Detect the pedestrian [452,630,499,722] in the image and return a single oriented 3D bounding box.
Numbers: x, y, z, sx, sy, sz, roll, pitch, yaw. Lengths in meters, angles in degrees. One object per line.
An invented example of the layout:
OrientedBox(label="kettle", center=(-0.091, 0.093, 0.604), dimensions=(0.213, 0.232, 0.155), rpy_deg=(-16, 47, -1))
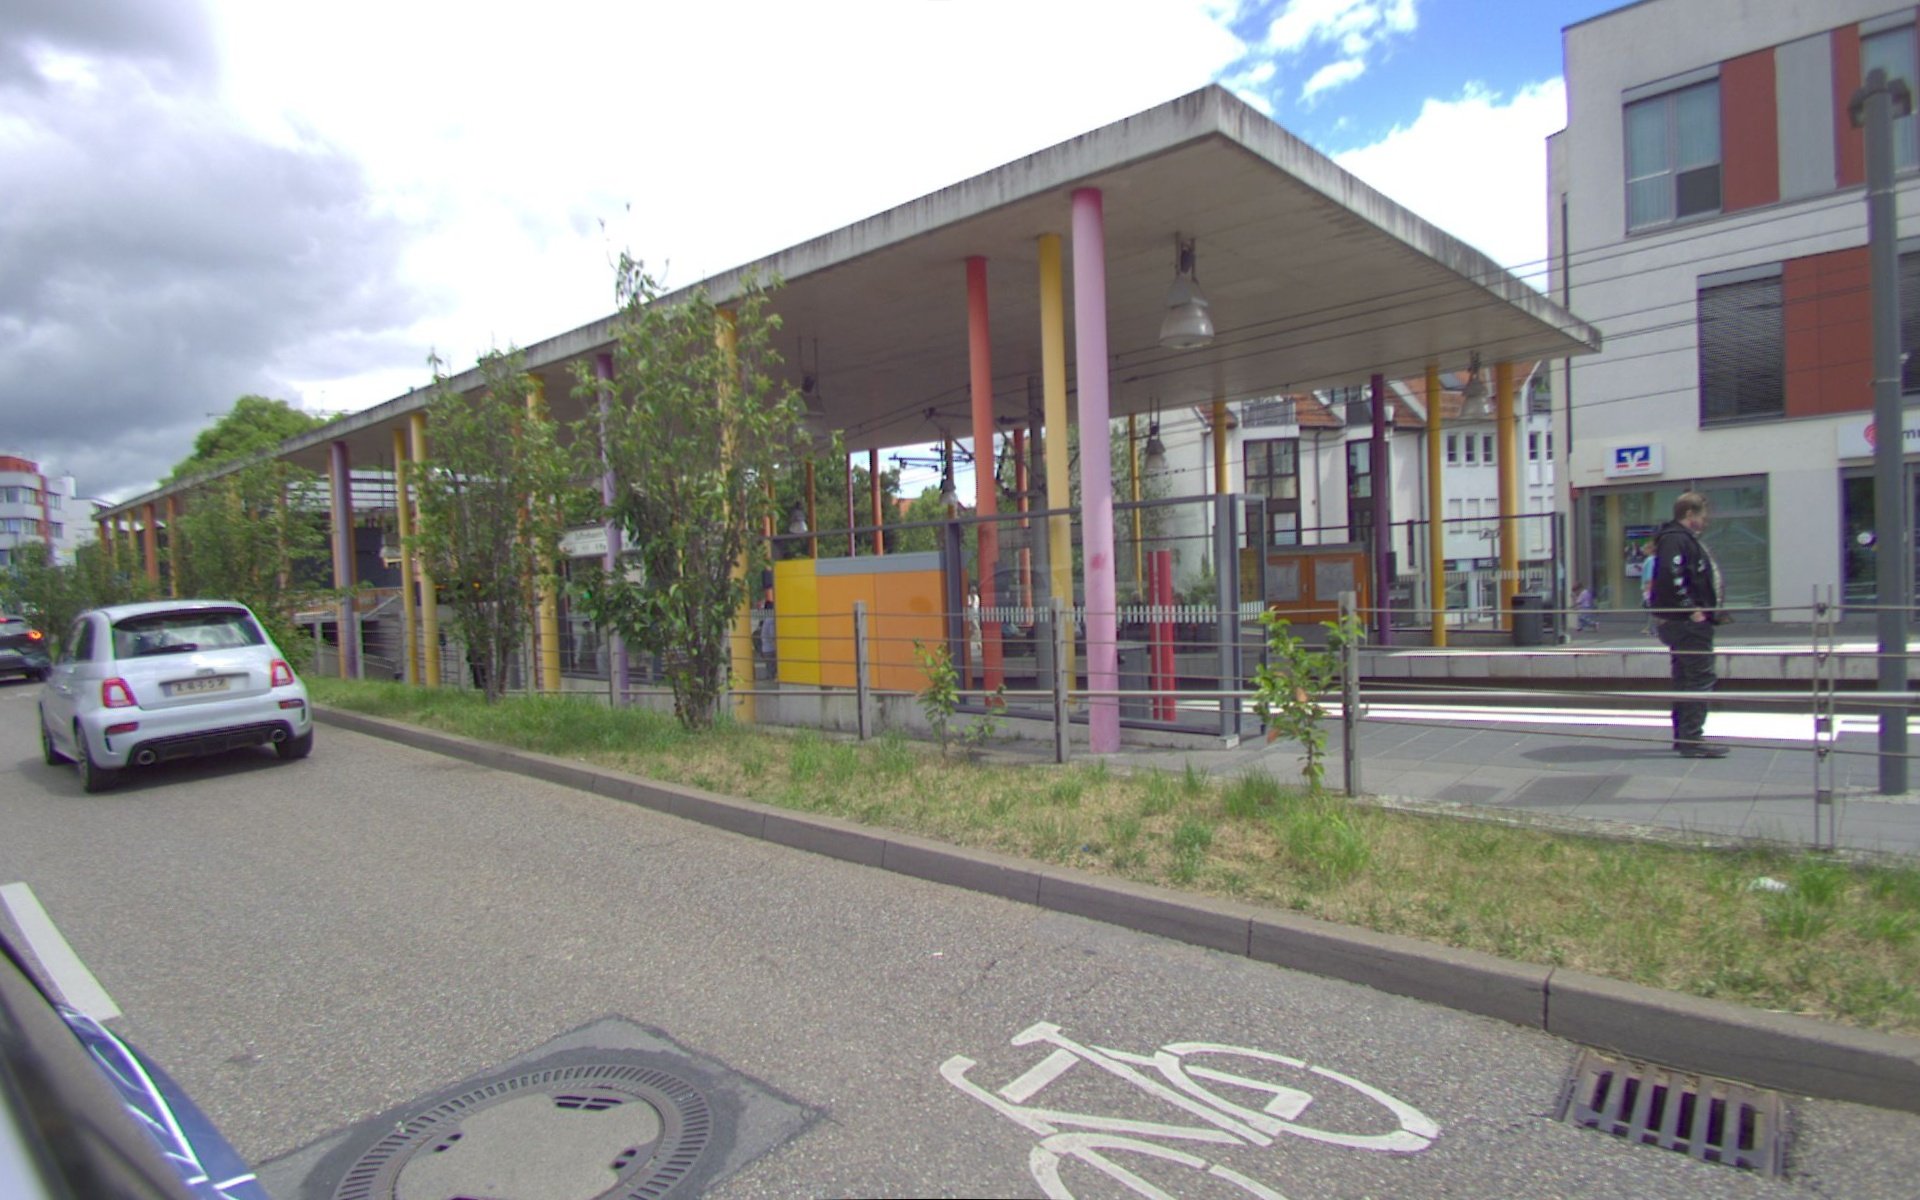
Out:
OrientedBox(label="pedestrian", center=(-10.307, 1.594, 21.528), dimensions=(0.710, 1.843, 0.580), rpy_deg=(1, 5, 44))

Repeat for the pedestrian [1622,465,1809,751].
OrientedBox(label="pedestrian", center=(5.237, 0.059, 7.074), dimensions=(0.778, 1.858, 0.731), rpy_deg=(-4, 1, 21))

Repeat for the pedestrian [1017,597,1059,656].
OrientedBox(label="pedestrian", center=(1.914, 0.654, 24.796), dimensions=(0.702, 1.389, 0.644), rpy_deg=(-3, 2, 43))

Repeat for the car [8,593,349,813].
OrientedBox(label="car", center=(-7.525, 0.829, 9.604), dimensions=(3.999, 1.519, 1.753), rpy_deg=(-2, 4, 42))

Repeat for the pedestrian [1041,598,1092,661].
OrientedBox(label="pedestrian", center=(2.512, 0.702, 23.925), dimensions=(0.702, 1.389, 0.917), rpy_deg=(-3, 2, 43))

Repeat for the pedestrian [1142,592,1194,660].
OrientedBox(label="pedestrian", center=(4.513, 0.556, 21.983), dimensions=(0.702, 1.389, 0.814), rpy_deg=(-3, 2, 43))

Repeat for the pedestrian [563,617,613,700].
OrientedBox(label="pedestrian", center=(-7.598, 1.187, 20.684), dimensions=(0.636, 1.626, 0.623), rpy_deg=(-3, 2, 43))

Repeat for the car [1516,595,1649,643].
OrientedBox(label="car", center=(18.999, 0.555, 30.880), dimensions=(3.654, 1.334, 1.653), rpy_deg=(0, 2, -24))

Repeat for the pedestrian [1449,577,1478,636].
OrientedBox(label="pedestrian", center=(11.651, 0.155, 23.431), dimensions=(0.521, 1.314, 0.511), rpy_deg=(-1, 3, 19))

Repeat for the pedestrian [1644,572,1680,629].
OrientedBox(label="pedestrian", center=(12.654, 0.009, 18.244), dimensions=(0.492, 0.997, 0.359), rpy_deg=(1, 5, 44))

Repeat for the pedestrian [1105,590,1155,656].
OrientedBox(label="pedestrian", center=(3.816, 0.513, 22.734), dimensions=(0.702, 1.389, 0.814), rpy_deg=(-3, 2, 43))

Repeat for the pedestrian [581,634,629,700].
OrientedBox(label="pedestrian", center=(-6.273, 1.173, 17.885), dimensions=(0.484, 1.091, 0.559), rpy_deg=(-3, 2, 42))

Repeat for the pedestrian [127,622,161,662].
OrientedBox(label="pedestrian", center=(-35.412, 1.810, 43.898), dimensions=(0.814, 1.576, 0.918), rpy_deg=(0, 4, 41))

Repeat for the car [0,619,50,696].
OrientedBox(label="car", center=(-21.688, 1.283, 22.447), dimensions=(4.253, 1.532, 1.707), rpy_deg=(-1, 4, 42))

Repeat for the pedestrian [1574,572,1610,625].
OrientedBox(label="pedestrian", center=(12.732, -0.038, 20.387), dimensions=(0.562, 1.030, 0.359), rpy_deg=(1, 5, 45))

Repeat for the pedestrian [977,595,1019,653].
OrientedBox(label="pedestrian", center=(0.954, 0.604, 25.571), dimensions=(0.705, 1.389, 0.678), rpy_deg=(-3, 2, 43))

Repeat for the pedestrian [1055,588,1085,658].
OrientedBox(label="pedestrian", center=(2.950, 0.623, 27.152), dimensions=(0.491, 1.834, 0.478), rpy_deg=(-3, 2, 40))

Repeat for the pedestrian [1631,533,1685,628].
OrientedBox(label="pedestrian", center=(12.945, -0.379, 18.757), dimensions=(0.724, 1.697, 0.677), rpy_deg=(1, 5, 44))

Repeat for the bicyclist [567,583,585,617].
OrientedBox(label="bicyclist", center=(-18.707, -0.014, 49.277), dimensions=(0.682, 1.604, 0.478), rpy_deg=(1, 5, 45))

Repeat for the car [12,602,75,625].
OrientedBox(label="car", center=(-83.214, 1.207, 91.982), dimensions=(1.820, 1.674, 3.996), rpy_deg=(-2, 4, 4))

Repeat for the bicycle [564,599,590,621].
OrientedBox(label="bicycle", center=(-18.646, 0.476, 49.262), dimensions=(0.478, 0.970, 1.614), rpy_deg=(-6, 5, -45))

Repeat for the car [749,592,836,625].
OrientedBox(label="car", center=(-8.502, 0.394, 51.479), dimensions=(3.933, 1.347, 1.731), rpy_deg=(-5, 4, -33))

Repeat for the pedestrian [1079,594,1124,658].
OrientedBox(label="pedestrian", center=(3.247, 0.602, 23.275), dimensions=(0.702, 1.389, 0.644), rpy_deg=(-3, 2, 43))

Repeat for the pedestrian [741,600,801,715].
OrientedBox(label="pedestrian", center=(-2.822, 0.844, 15.092), dimensions=(0.548, 1.645, 0.526), rpy_deg=(-3, 2, 42))
